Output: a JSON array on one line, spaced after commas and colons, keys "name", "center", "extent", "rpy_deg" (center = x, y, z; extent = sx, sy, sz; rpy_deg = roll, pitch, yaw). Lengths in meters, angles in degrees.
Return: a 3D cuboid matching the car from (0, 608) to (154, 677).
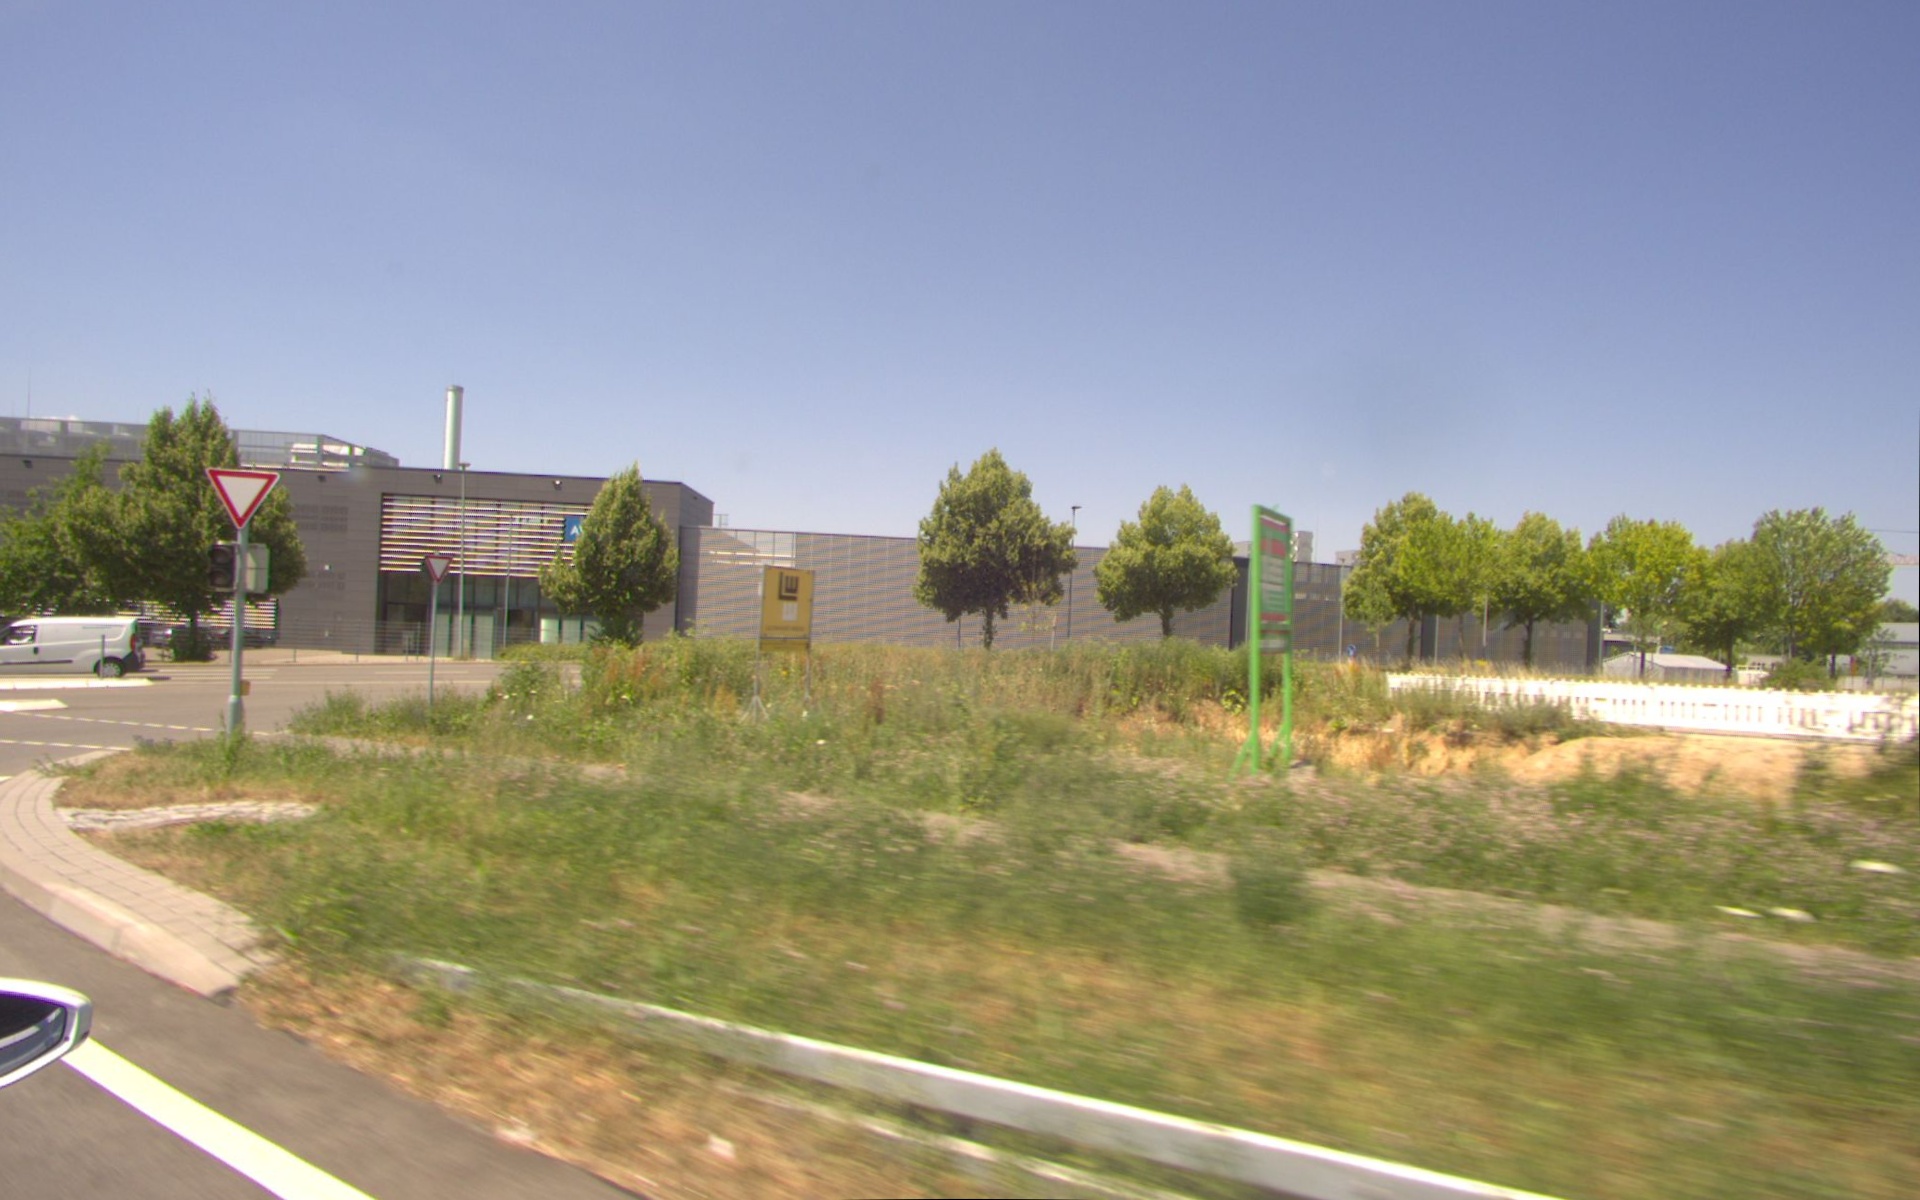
[{"name": "car", "center": [-27.131, 1.245, 29.872], "extent": [4.704, 1.956, 2.138], "rpy_deg": [2, -2, -37]}]
